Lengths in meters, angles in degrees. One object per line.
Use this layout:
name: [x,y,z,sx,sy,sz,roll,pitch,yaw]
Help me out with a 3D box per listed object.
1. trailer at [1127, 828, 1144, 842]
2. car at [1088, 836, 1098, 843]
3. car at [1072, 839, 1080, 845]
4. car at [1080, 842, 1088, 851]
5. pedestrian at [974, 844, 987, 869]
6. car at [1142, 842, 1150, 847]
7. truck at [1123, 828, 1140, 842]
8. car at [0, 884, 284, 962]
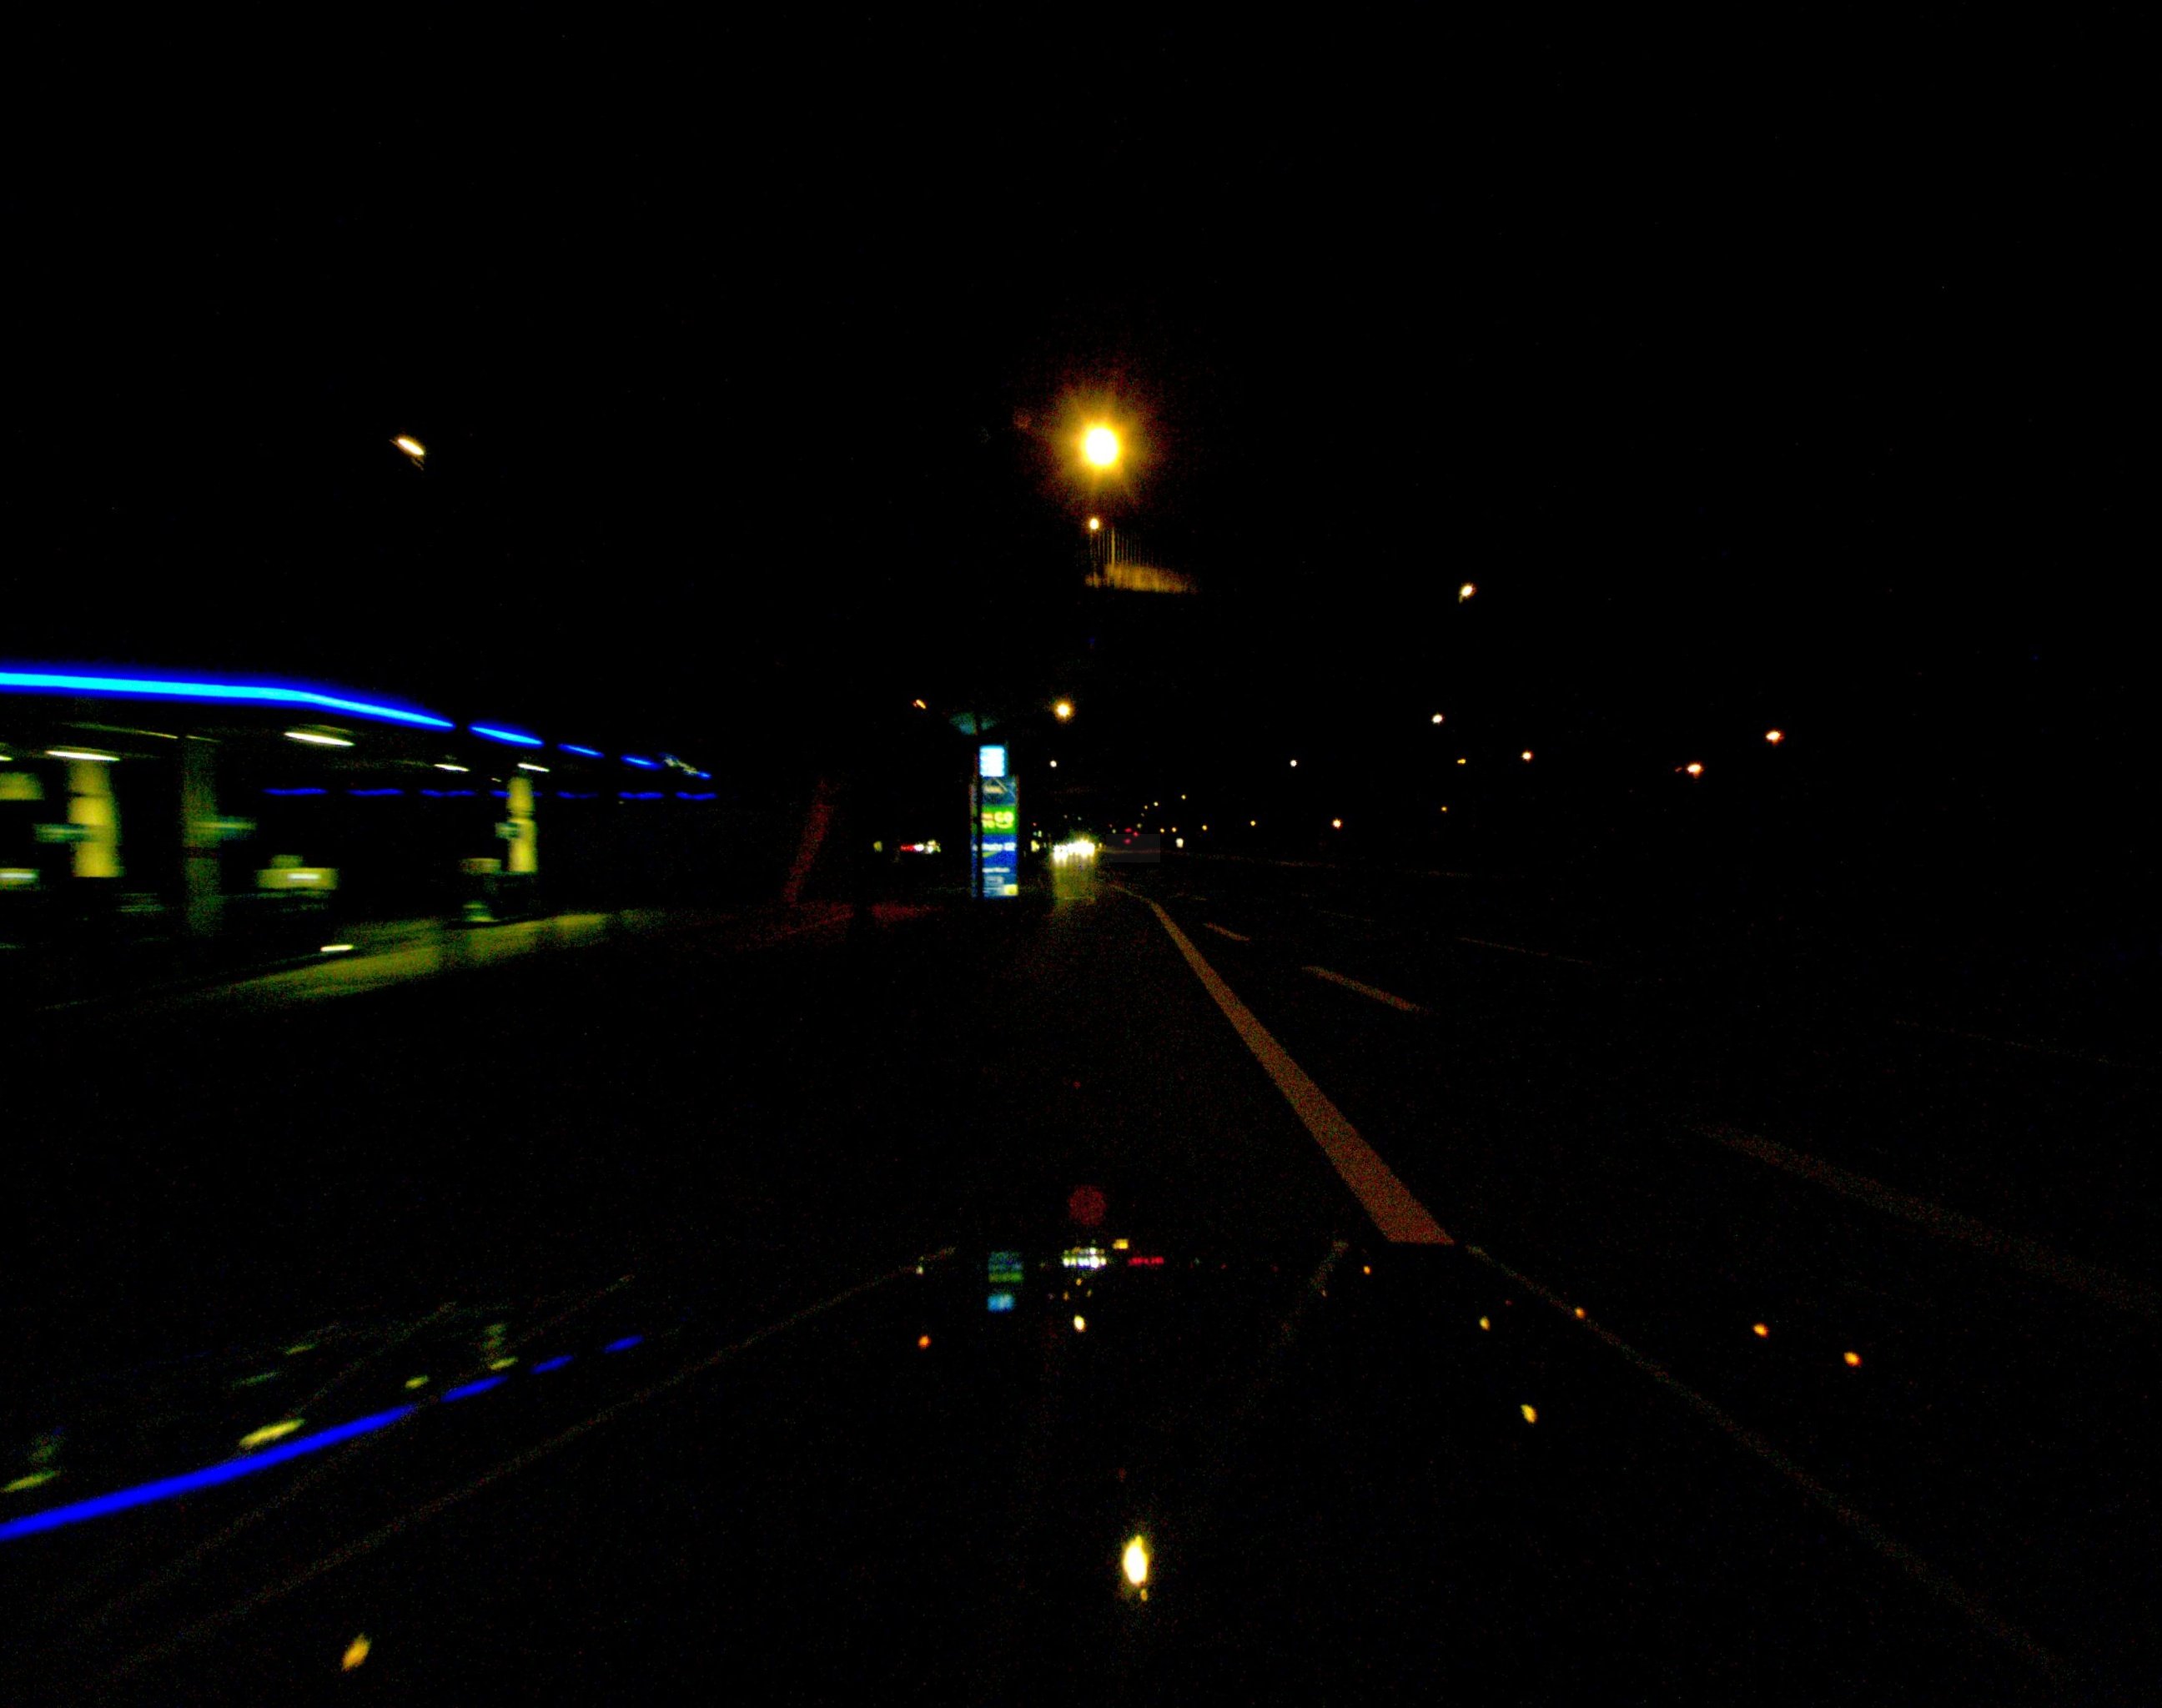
trailer: [16.213,-5.559,225.441,3.707,3.968,8.389,-2,2,-4]
car: [2.848,-3.486,181.889,1.991,1.473,4.201,1,2,-2]
car: [-1.413,-3.406,215.787,1.991,1.473,4.201,1,2,-2]
car: [0.656,-1.822,181.742,1.795,2.002,3.997,-2,2,-2]
pedestrian: [-7.882,0.196,59.745,0.806,1.902,0.793,2,2,7]
car: [20.239,-2.964,236.975,1.991,1.473,4.201,1,2,-2]
truck: [15.426,-5.855,234.864,3.692,3.933,10.413,-2,2,-4]
car: [-22.873,1.591,18.819,1.933,1.355,4.331,-1,2,-7]
